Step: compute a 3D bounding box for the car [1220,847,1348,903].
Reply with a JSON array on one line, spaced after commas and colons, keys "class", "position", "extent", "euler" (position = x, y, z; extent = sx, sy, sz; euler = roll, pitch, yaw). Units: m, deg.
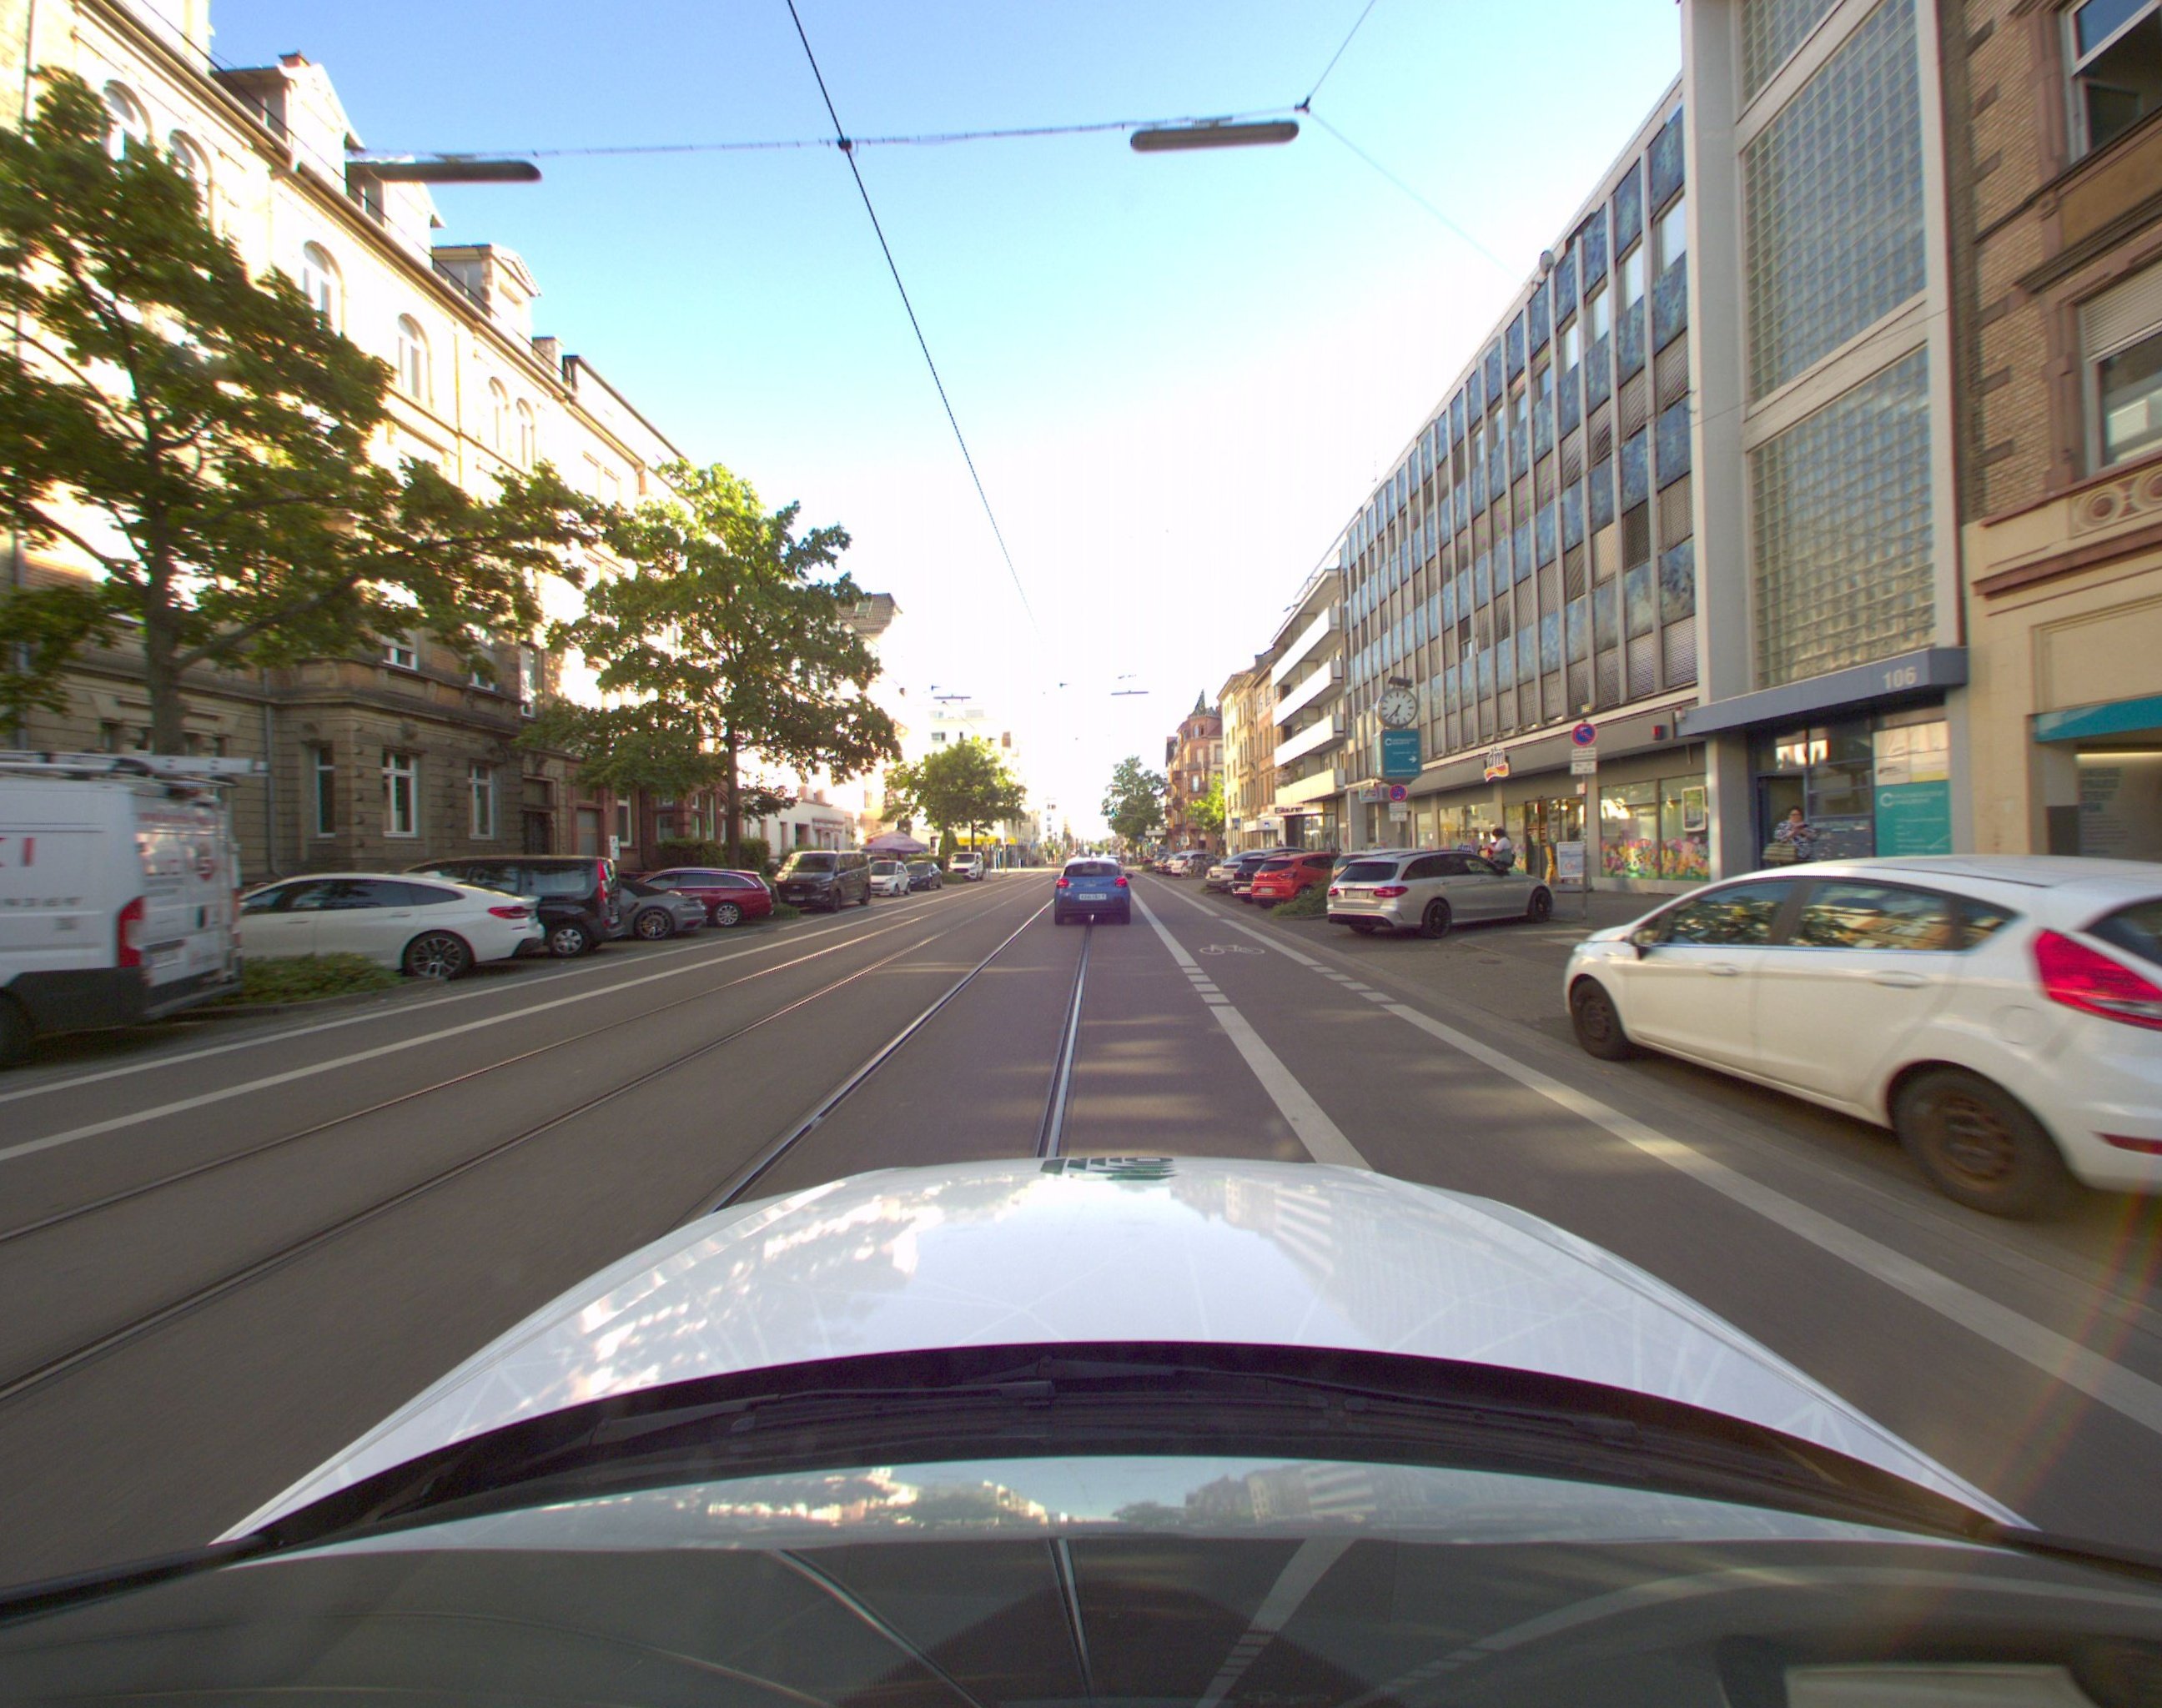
[{"class": "car", "position": [6.082, 0.581, 24.374], "extent": [3.463, 1.555, 1.806], "euler": [-1, -1, -30]}]

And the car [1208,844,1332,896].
[{"class": "car", "position": [6.386, 0.507, 27.502], "extent": [3.743, 1.652, 2.027], "euler": [-1, -1, -32]}]

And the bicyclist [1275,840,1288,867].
[{"class": "bicyclist", "position": [12.359, -0.034, 50.176], "extent": [0.728, 1.623, 0.529], "euler": [-1, -1, 7]}]

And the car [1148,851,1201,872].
[{"class": "car", "position": [7.218, 0.559, 62.685], "extent": [3.664, 1.534, 1.778], "euler": [-1, -1, -18]}]

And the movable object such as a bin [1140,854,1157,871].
[{"class": "movable object such as a bin", "position": [5.963, 0.778, 71.983], "extent": [1.389, 1.483, 1.656], "euler": [-1, -1, 1]}]

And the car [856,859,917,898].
[{"class": "car", "position": [-8.621, 1.047, 36.467], "extent": [1.742, 1.618, 4.408], "euler": [-1, 0, -1]}]

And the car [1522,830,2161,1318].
[{"class": "car", "position": [4.487, 0.720, 4.659], "extent": [1.866, 1.596, 4.002], "euler": [-1, 0, 2]}]

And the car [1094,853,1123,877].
[{"class": "car", "position": [1.890, 0.753, 56.157], "extent": [1.866, 1.596, 4.002], "euler": [-1, 0, 2]}]

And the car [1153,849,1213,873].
[{"class": "car", "position": [7.003, 0.467, 56.065], "extent": [3.664, 1.574, 1.849], "euler": [-1, -1, -18]}]

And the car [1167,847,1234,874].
[{"class": "car", "position": [7.333, 0.369, 50.062], "extent": [3.674, 1.574, 1.844], "euler": [-1, -1, -27]}]

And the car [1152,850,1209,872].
[{"class": "car", "position": [7.259, 0.492, 59.337], "extent": [3.664, 1.574, 1.849], "euler": [-1, -1, -18]}]

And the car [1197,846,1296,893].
[{"class": "car", "position": [6.159, 0.556, 30.217], "extent": [3.467, 1.640, 1.666], "euler": [0, -1, -35]}]

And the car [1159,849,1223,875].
[{"class": "car", "position": [7.159, 0.512, 53.144], "extent": [3.664, 1.574, 1.849], "euler": [-1, -1, -18]}]

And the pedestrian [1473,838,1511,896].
[{"class": "pedestrian", "position": [11.583, 0.357, 22.965], "extent": [0.690, 1.587, 0.678], "euler": [-1, -1, 1]}]

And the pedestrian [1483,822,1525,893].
[{"class": "pedestrian", "position": [10.646, 0.092, 20.522], "extent": [0.690, 1.756, 0.678], "euler": [-1, -1, 1]}]

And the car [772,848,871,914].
[{"class": "car", "position": [-8.559, 0.842, 27.344], "extent": [1.742, 1.973, 5.237], "euler": [-1, 0, -1]}]

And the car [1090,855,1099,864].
[{"class": "car", "position": [2.217, 0.869, 133.307], "extent": [1.417, 1.432, 3.140], "euler": [-1, 0, 2]}]

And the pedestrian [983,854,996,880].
[{"class": "pedestrian", "position": [-6.252, 0.888, 55.569], "extent": [0.732, 1.726, 0.623], "euler": [0, -1, -23]}]

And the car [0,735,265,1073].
[{"class": "car", "position": [-10.660, 0.430, 6.605], "extent": [5.402, 2.749, 1.789], "euler": [-1, -1, -29]}]

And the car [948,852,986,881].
[{"class": "car", "position": [-7.749, 0.834, 55.799], "extent": [1.825, 1.848, 4.215], "euler": [-1, 0, 2]}]

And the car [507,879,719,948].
[{"class": "car", "position": [-9.938, 1.231, 17.632], "extent": [3.815, 1.265, 1.504], "euler": [-1, -1, -24]}]

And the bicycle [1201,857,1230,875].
[{"class": "bicycle", "position": [7.714, 0.683, 46.666], "extent": [0.557, 1.047, 1.789], "euler": [0, -1, -34]}]

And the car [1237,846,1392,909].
[{"class": "car", "position": [6.213, 0.575, 21.647], "extent": [3.743, 1.521, 1.949], "euler": [-1, -1, -32]}]

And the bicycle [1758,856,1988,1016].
[{"class": "bicycle", "position": [6.437, 0.619, 6.709], "extent": [0.690, 1.185, 1.239], "euler": [-1, -1, 1]}]

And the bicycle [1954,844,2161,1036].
[{"class": "bicycle", "position": [7.493, 0.542, 5.490], "extent": [2.347, 1.221, 0.665], "euler": [-1, -1, 4]}]

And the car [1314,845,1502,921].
[{"class": "car", "position": [7.209, 0.581, 17.938], "extent": [3.796, 1.487, 1.822], "euler": [-1, -1, -28]}]

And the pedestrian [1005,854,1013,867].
[{"class": "pedestrian", "position": [-9.499, 0.866, 107.669], "extent": [0.942, 1.751, 0.699], "euler": [-1, -1, -3]}]

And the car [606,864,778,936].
[{"class": "car", "position": [-9.649, 1.087, 20.532], "extent": [3.736, 1.622, 1.777], "euler": [-1, -1, -20]}]

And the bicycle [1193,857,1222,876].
[{"class": "bicycle", "position": [7.201, 0.696, 46.296], "extent": [0.557, 1.047, 1.789], "euler": [0, -1, -34]}]

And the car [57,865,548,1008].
[{"class": "car", "position": [-10.511, 1.007, 11.617], "extent": [4.787, 1.618, 1.695], "euler": [-1, -1, -31]}]

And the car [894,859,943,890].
[{"class": "car", "position": [-8.252, 1.001, 41.713], "extent": [1.742, 1.487, 4.039], "euler": [-1, 0, -1]}]

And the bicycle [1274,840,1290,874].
[{"class": "bicycle", "position": [12.361, 0.200, 50.141], "extent": [0.724, 2.014, 2.363], "euler": [-1, -1, 7]}]

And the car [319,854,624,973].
[{"class": "car", "position": [-10.460, 0.940, 14.371], "extent": [4.005, 1.817, 1.699], "euler": [-1, -1, -24]}]

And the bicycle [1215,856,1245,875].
[{"class": "bicycle", "position": [8.643, 0.668, 47.398], "extent": [0.557, 1.047, 1.787], "euler": [0, -1, -37]}]

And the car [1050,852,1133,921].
[{"class": "car", "position": [0.278, 0.703, 19.188], "extent": [1.756, 1.441, 3.557], "euler": [-1, 0, 1]}]

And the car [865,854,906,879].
[{"class": "car", "position": [-12.361, 0.786, 51.597], "extent": [1.628, 1.469, 3.528], "euler": [-1, 0, 2]}]

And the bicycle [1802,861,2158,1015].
[{"class": "bicycle", "position": [7.803, 0.688, 7.210], "extent": [2.001, 1.221, 0.667], "euler": [-1, -1, 24]}]

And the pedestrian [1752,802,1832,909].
[{"class": "pedestrian", "position": [12.308, 0.030, 14.122], "extent": [0.717, 1.806, 0.727], "euler": [-1, -1, 1]}]

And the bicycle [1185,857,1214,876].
[{"class": "bicycle", "position": [6.664, 0.714, 45.950], "extent": [0.557, 1.047, 1.789], "euler": [0, -1, -34]}]

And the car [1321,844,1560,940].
[{"class": "car", "position": [6.559, 0.602, 14.730], "extent": [4.465, 1.508, 1.522], "euler": [-1, -1, -28]}]
